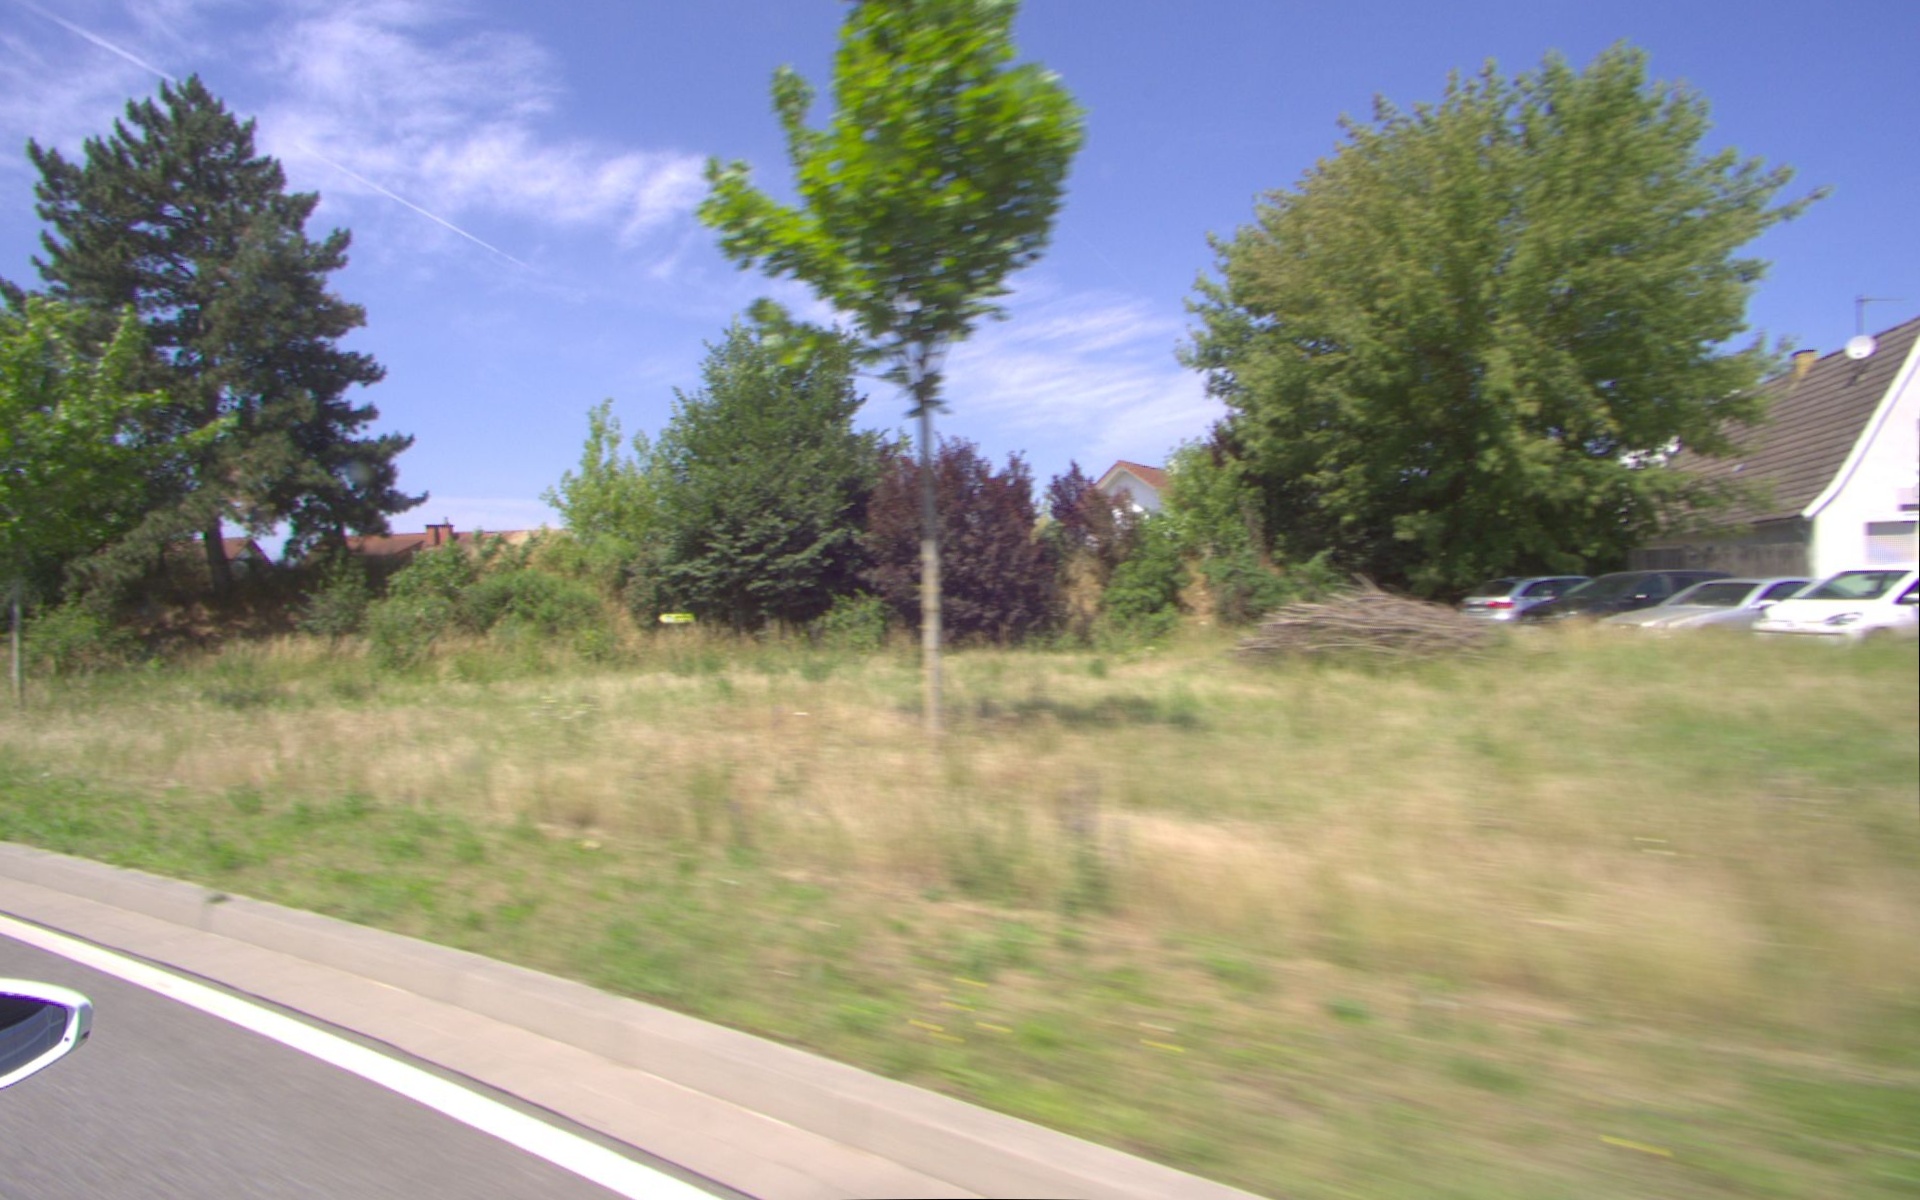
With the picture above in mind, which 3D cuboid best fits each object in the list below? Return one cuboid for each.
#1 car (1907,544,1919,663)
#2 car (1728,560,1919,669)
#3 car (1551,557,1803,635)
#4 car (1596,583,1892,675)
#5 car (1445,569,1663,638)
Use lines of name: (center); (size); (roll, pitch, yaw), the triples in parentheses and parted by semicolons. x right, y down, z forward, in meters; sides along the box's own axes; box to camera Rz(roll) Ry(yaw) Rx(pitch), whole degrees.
car: (13.820, 0.027, 11.815); (3.890, 1.461, 1.773); (0, 0, -7)
car: (13.742, 0.202, 14.624); (3.890, 1.461, 1.773); (0, 0, -7)
car: (14.082, -0.071, 19.786); (3.891, 1.461, 1.773); (0, 0, -7)
car: (13.254, 0.463, 17.051); (3.891, 1.461, 1.773); (0, 0, -8)
car: (13.107, 0.086, 22.217); (3.891, 1.461, 1.773); (0, 0, -7)
